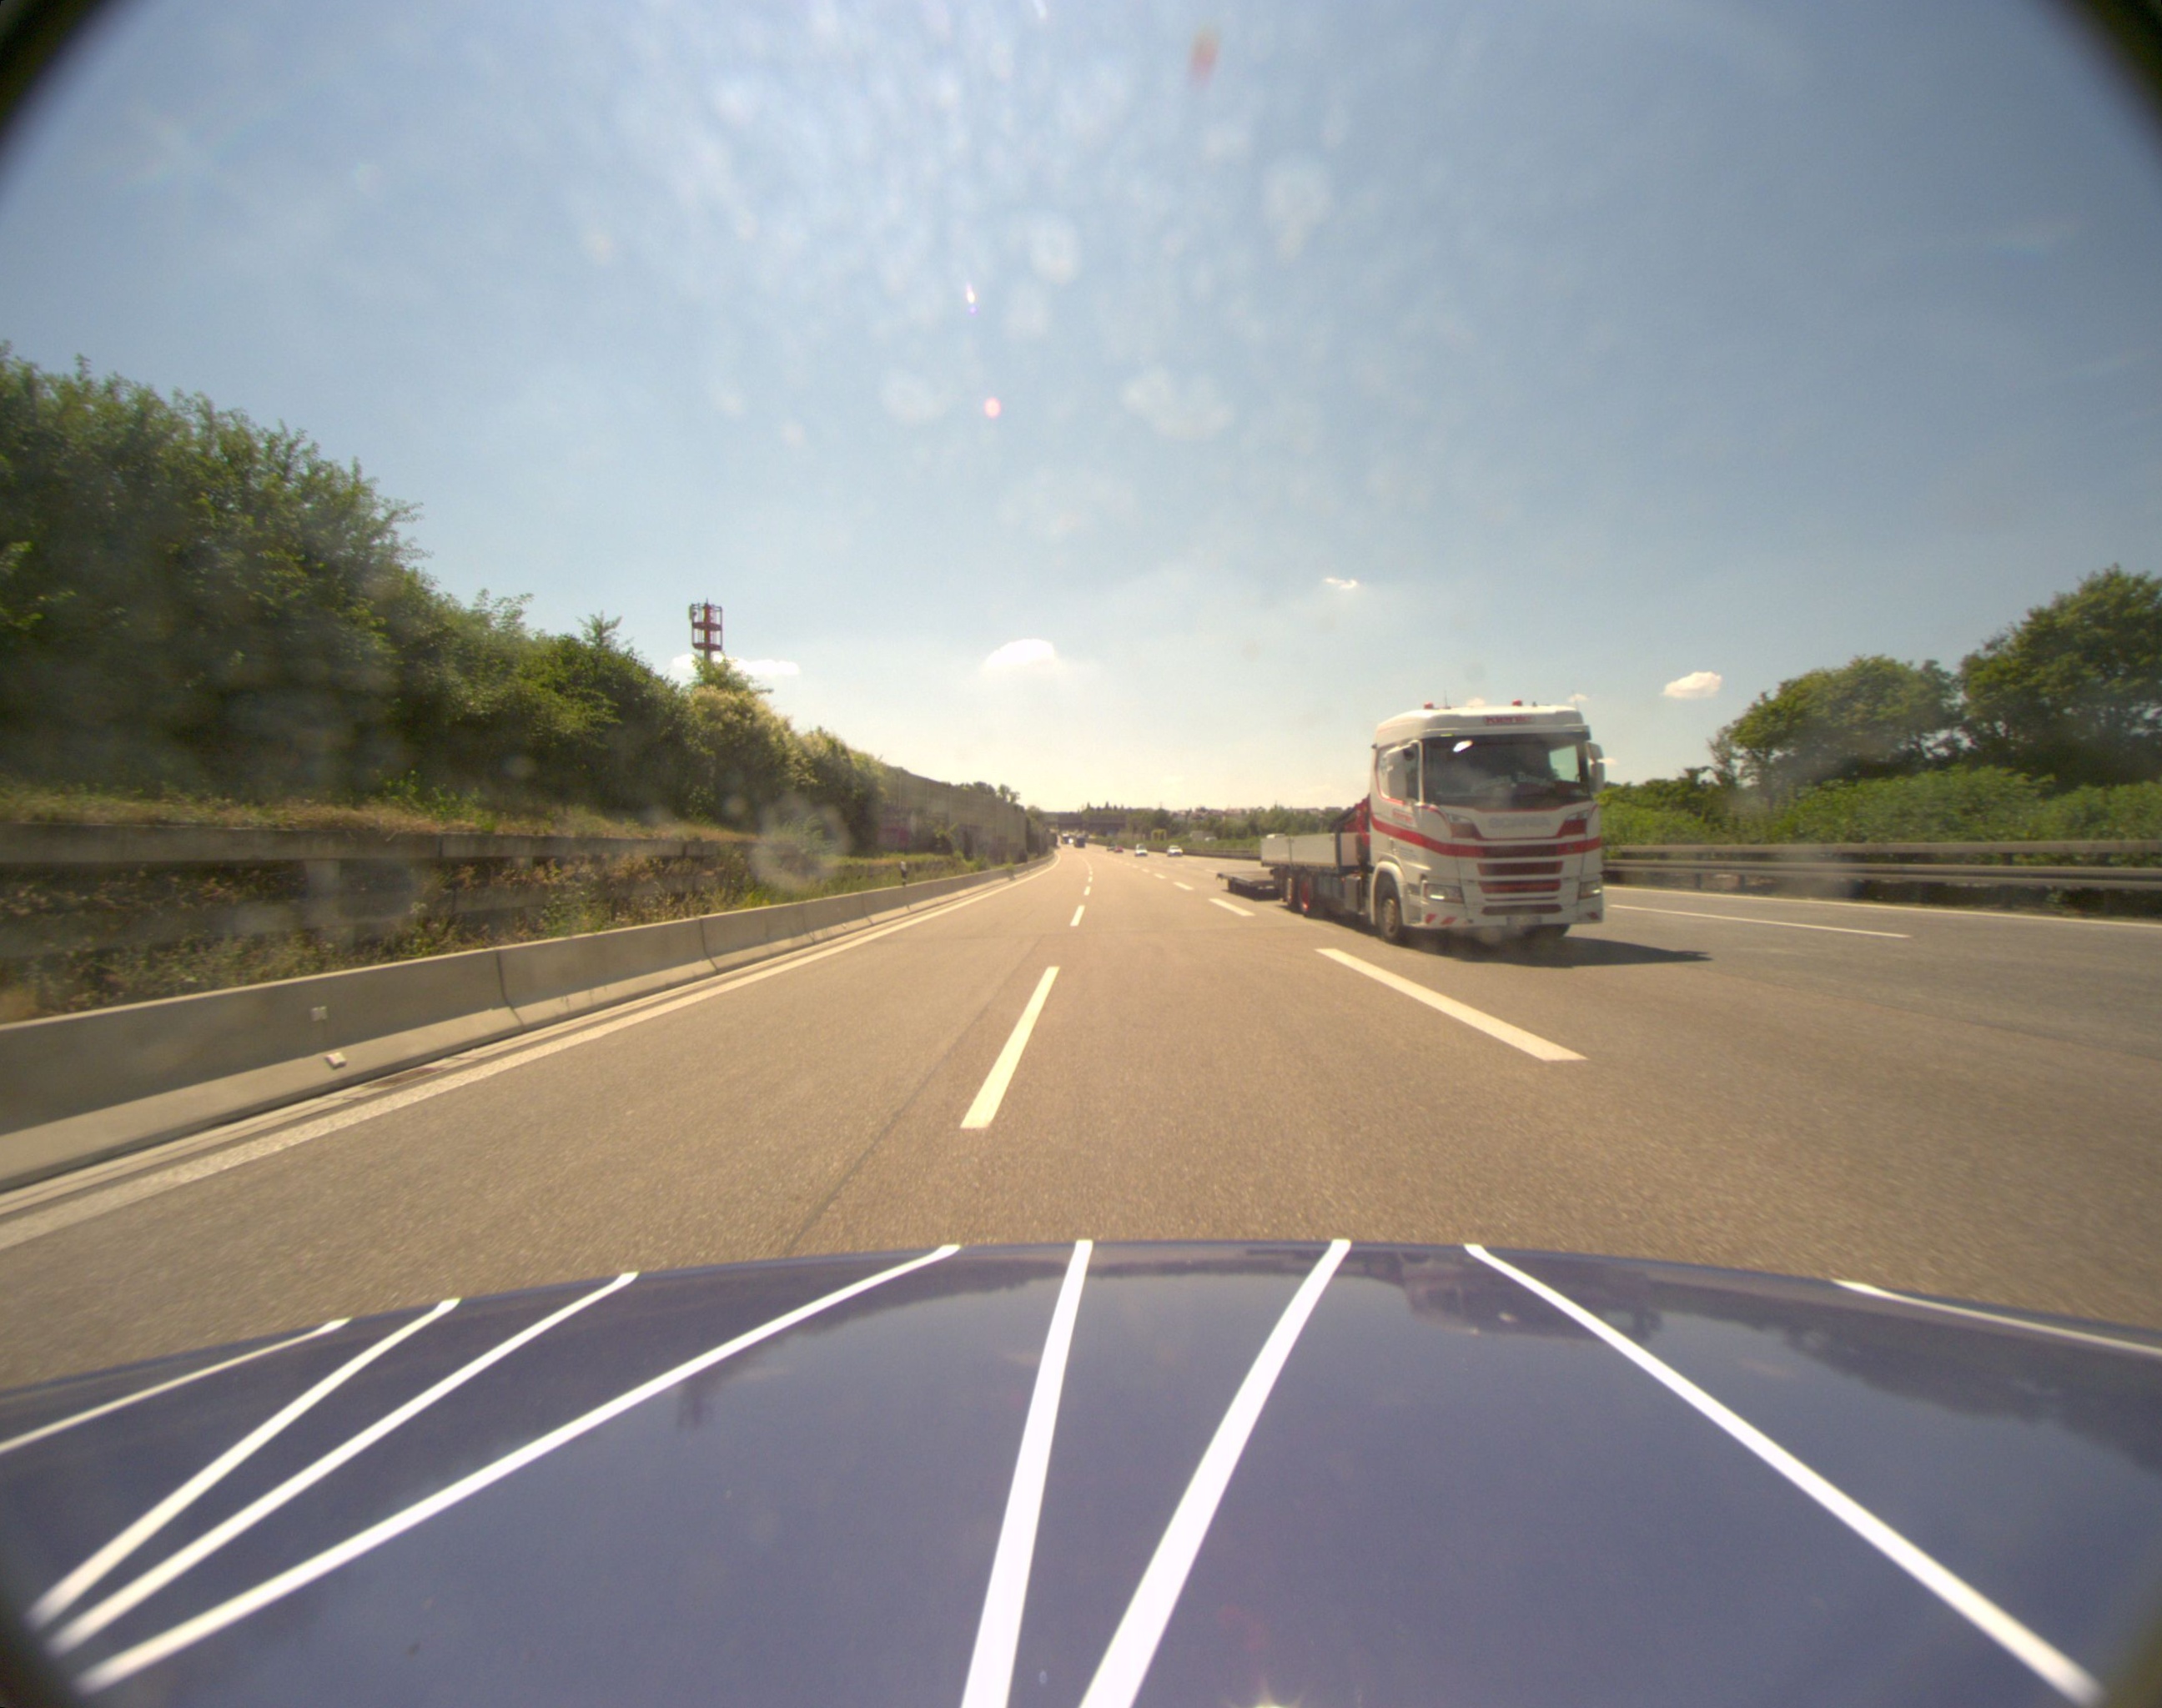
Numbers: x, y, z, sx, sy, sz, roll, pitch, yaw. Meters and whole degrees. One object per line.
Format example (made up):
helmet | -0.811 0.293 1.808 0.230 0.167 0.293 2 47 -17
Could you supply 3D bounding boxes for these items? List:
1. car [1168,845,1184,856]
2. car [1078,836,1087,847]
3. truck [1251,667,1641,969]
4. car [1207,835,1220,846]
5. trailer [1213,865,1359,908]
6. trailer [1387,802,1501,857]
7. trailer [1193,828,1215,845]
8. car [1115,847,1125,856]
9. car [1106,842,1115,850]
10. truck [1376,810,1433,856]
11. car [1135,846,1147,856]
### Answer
car | 13.864 -0.503 110.899 1.883 1.543 4.001 -2 0 2
car | 0.384 -4.023 243.200 2.116 3.284 6.441 -2 1 -6
truck | 5.872 -0.459 15.073 2.721 3.780 10.672 -2 0 1
car | 27.754 -2.823 158.681 1.998 2.003 3.998 -1 3 0
trailer | 6.171 0.925 24.266 2.721 0.929 7.760 -2 0 1
trailer | 30.335 -1.897 64.617 3.400 4.066 13.926 -2 1 2
trailer | 30.104 -4.178 186.469 2.545 3.925 13.716 -2 1 -2
car | 8.445 -0.611 164.973 1.998 1.832 3.999 -2 1 0
car | 7.249 -1.976 187.376 1.998 1.832 3.999 -2 1 0
truck | 30.544 -1.968 71.942 3.340 4.066 4.828 -2 1 2
car | 9.785 -0.492 123.891 1.786 1.494 4.170 -1 1 1
